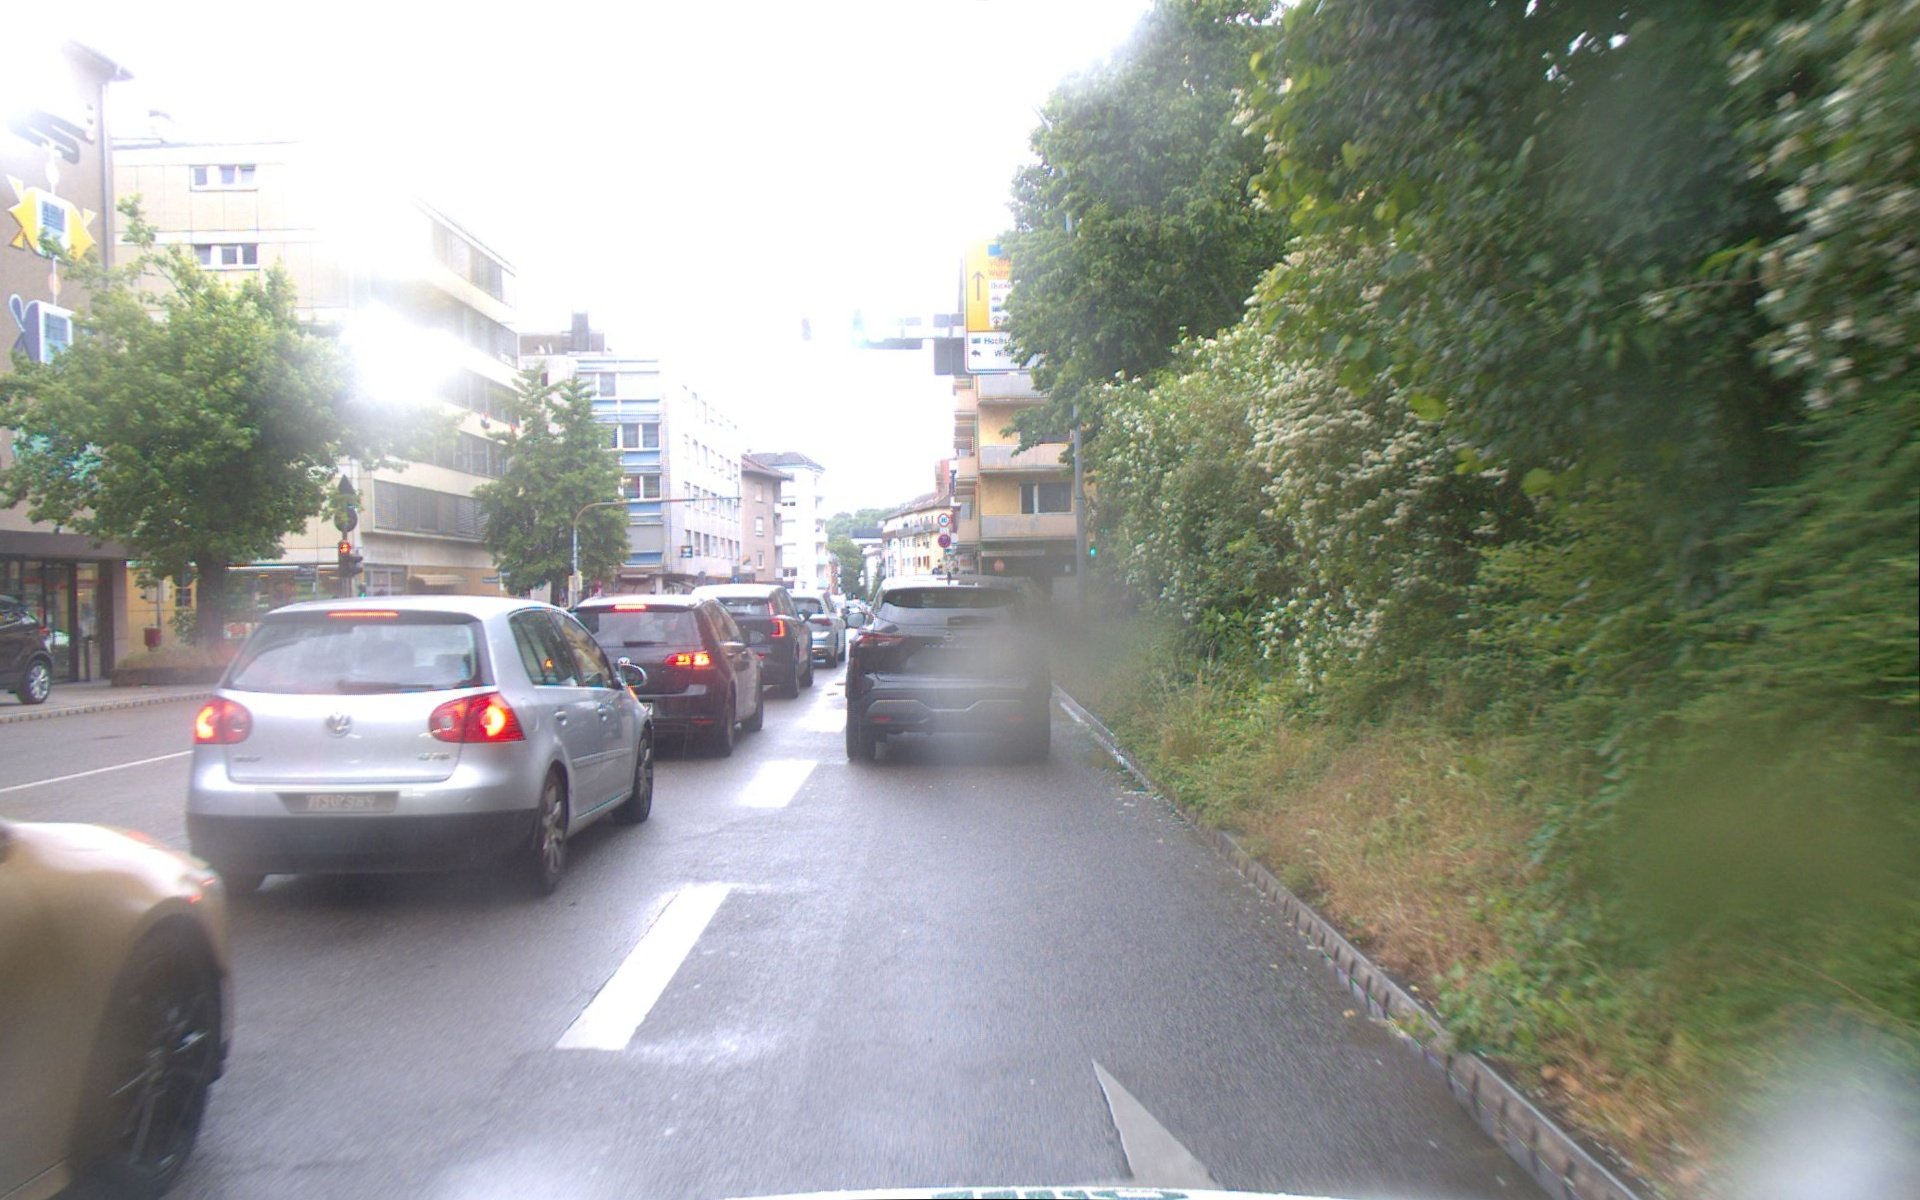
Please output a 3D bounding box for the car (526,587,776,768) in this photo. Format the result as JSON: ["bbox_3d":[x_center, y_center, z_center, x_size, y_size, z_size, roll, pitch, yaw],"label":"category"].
[{"bbox_3d":[-2.856,0.647,16.107,1.720,1.478,3.999,-2,1,-1],"label":"car"}]

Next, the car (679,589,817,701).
[{"bbox_3d":[-2.966,0.583,23.822,1.580,1.445,3.965,-1,1,-2],"label":"car"}]

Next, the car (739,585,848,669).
[{"bbox_3d":[-3.169,0.467,32.153,1.731,1.469,3.999,-2,1,-1],"label":"car"}]

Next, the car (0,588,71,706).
[{"bbox_3d":[-14.831,0.695,24.085,1.508,1.735,4.286,0,0,-1],"label":"car"}]

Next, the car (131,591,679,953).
[{"bbox_3d":[-2.761,0.732,9.267,1.708,1.513,4.160,-2,0,-1],"label":"car"}]

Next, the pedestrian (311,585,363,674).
[{"bbox_3d":[-14.830,0.698,39.406,0.923,2.048,0.884,-3,0,-10],"label":"pedestrian"}]

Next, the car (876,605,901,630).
[{"bbox_3d":[-6.316,1.573,146.667,1.953,2.048,4.000,-3,0,0],"label":"car"}]

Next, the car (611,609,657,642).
[{"bbox_3d":[-16.158,1.252,82.047,1.639,1.504,3.606,-3,0,-3],"label":"car"}]

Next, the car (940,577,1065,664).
[{"bbox_3d":[1.131,0.475,41.662,1.952,2.049,4.001,-1,1,20],"label":"car"}]

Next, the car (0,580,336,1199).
[{"bbox_3d":[-2.866,0.737,2.616,2.024,1.489,4.586,-1,1,-1],"label":"car"}]

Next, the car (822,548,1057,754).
[{"bbox_3d":[-0.236,0.398,15.515,1.920,1.681,3.998,0,0,-2],"label":"car"}]
